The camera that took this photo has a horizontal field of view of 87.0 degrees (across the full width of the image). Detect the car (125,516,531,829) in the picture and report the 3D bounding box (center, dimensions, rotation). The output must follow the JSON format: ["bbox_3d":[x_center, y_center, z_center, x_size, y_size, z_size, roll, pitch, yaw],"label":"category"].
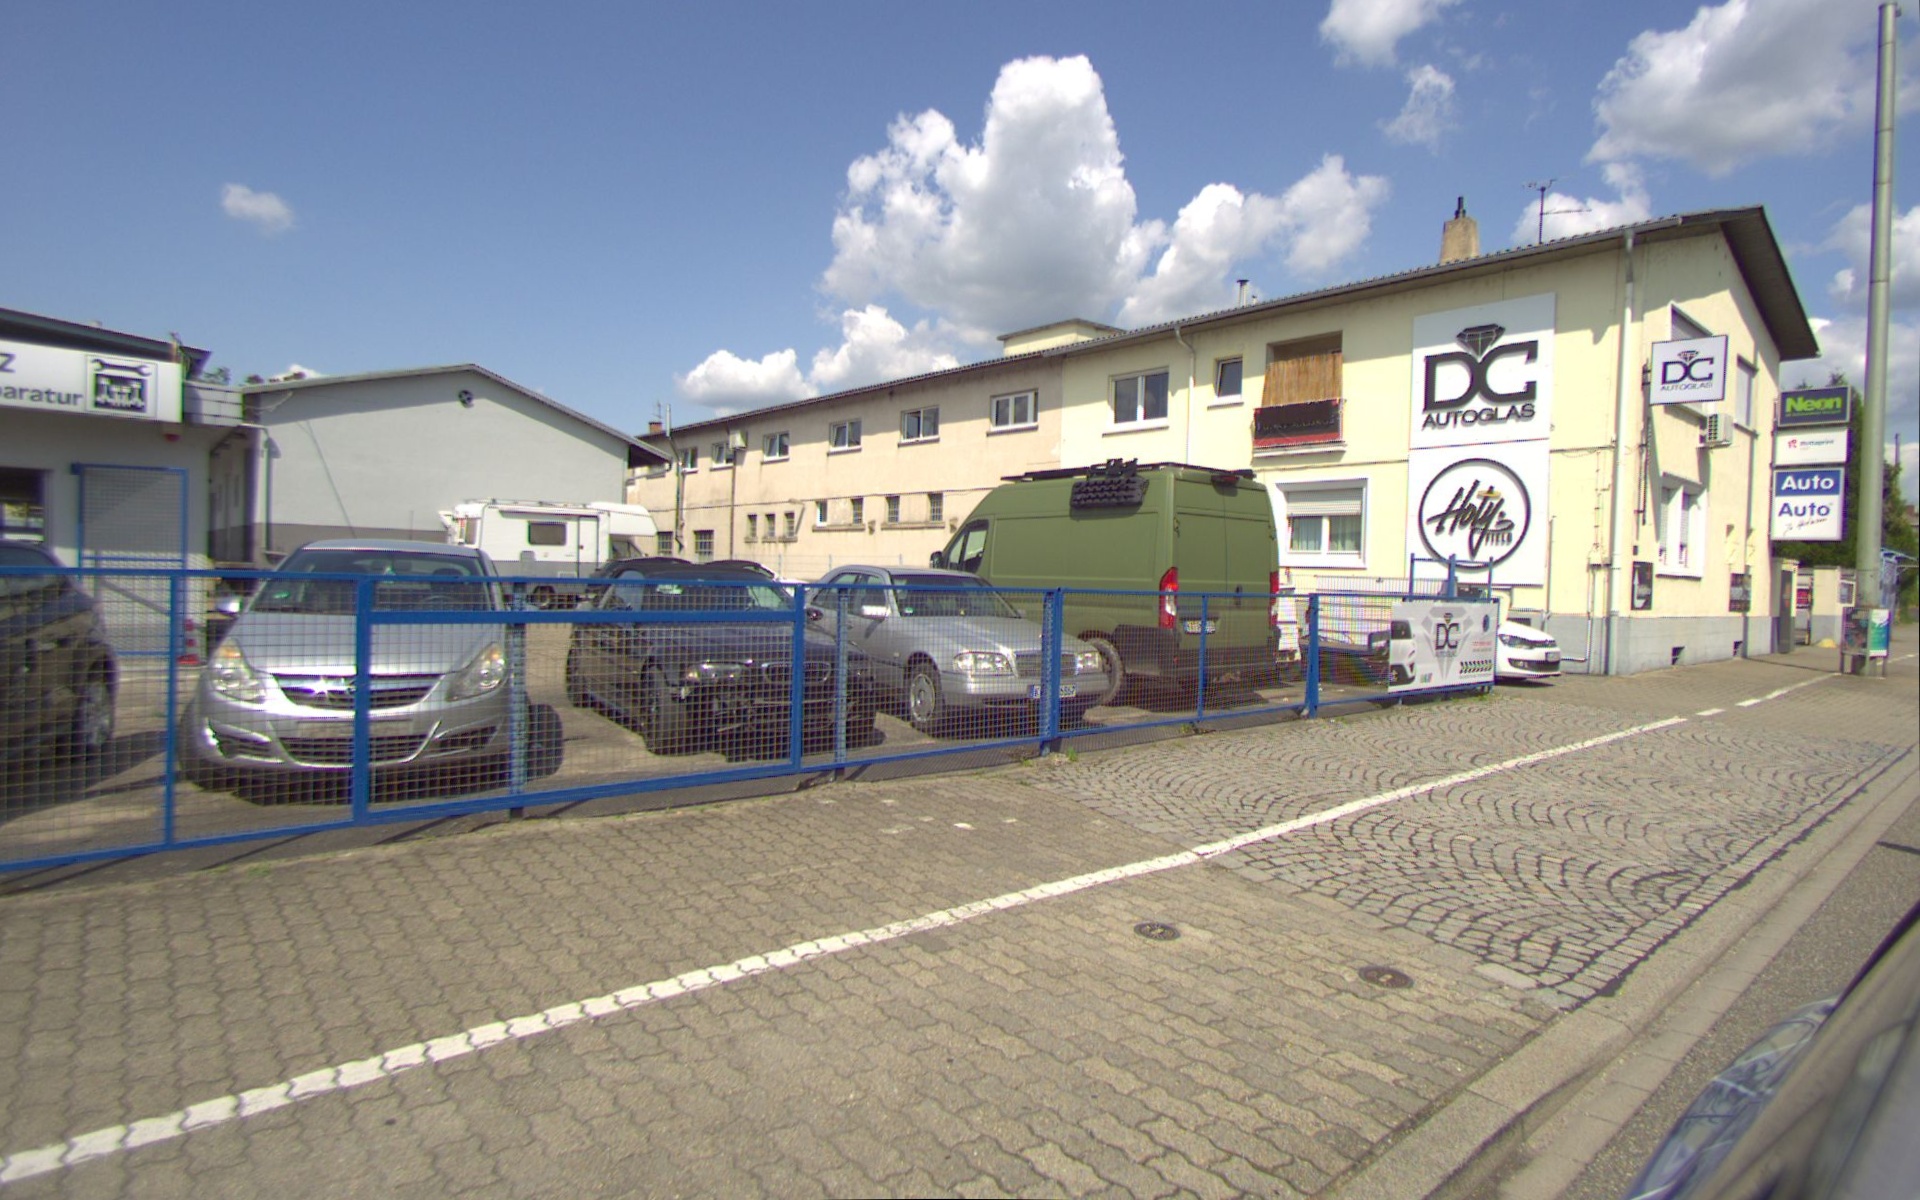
[{"bbox_3d":[-3.893,0.283,6.836,1.736,1.470,3.778,1,2,-24],"label":"car"}]

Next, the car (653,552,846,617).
[{"bbox_3d":[-4.838,-0.346,23.543,4.112,1.378,1.645,0,2,-41],"label":"car"}]

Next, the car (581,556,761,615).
[{"bbox_3d":[-7.300,-0.356,25.806,4.112,1.378,1.645,0,2,-41],"label":"car"}]

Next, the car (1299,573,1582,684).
[{"bbox_3d":[7.540,0.364,16.174,1.527,1.481,3.775,1,2,-39],"label":"car"}]

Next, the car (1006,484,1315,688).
[{"bbox_3d":[2.647,-0.244,14.238,1.557,2.436,4.208,1,2,-39],"label":"car"}]

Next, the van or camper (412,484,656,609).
[{"bbox_3d":[-11.297,-1.322,27.107,5.556,3.002,2.272,0,2,-42],"label":"van or camper"}]

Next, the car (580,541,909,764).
[{"bbox_3d":[-2.123,0.276,8.893,1.737,1.470,4.128,1,2,-28],"label":"car"}]

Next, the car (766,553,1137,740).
[{"bbox_3d":[-0.333,0.289,10.198,1.679,1.470,4.292,1,2,-33],"label":"car"}]

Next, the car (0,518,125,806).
[{"bbox_3d":[-5.634,0.306,4.863,1.606,1.470,3.701,1,2,-25],"label":"car"}]

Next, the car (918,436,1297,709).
[{"bbox_3d":[1.593,-0.347,12.251,2.075,2.675,4.208,1,2,-39],"label":"car"}]

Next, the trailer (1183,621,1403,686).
[{"bbox_3d":[4.755,0.728,14.646,1.307,0.674,2.730,0,2,-42],"label":"trailer"}]

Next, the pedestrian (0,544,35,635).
[{"bbox_3d":[-13.155,-0.155,13.877,0.652,1.224,0.566,1,1,-39],"label":"pedestrian"}]
